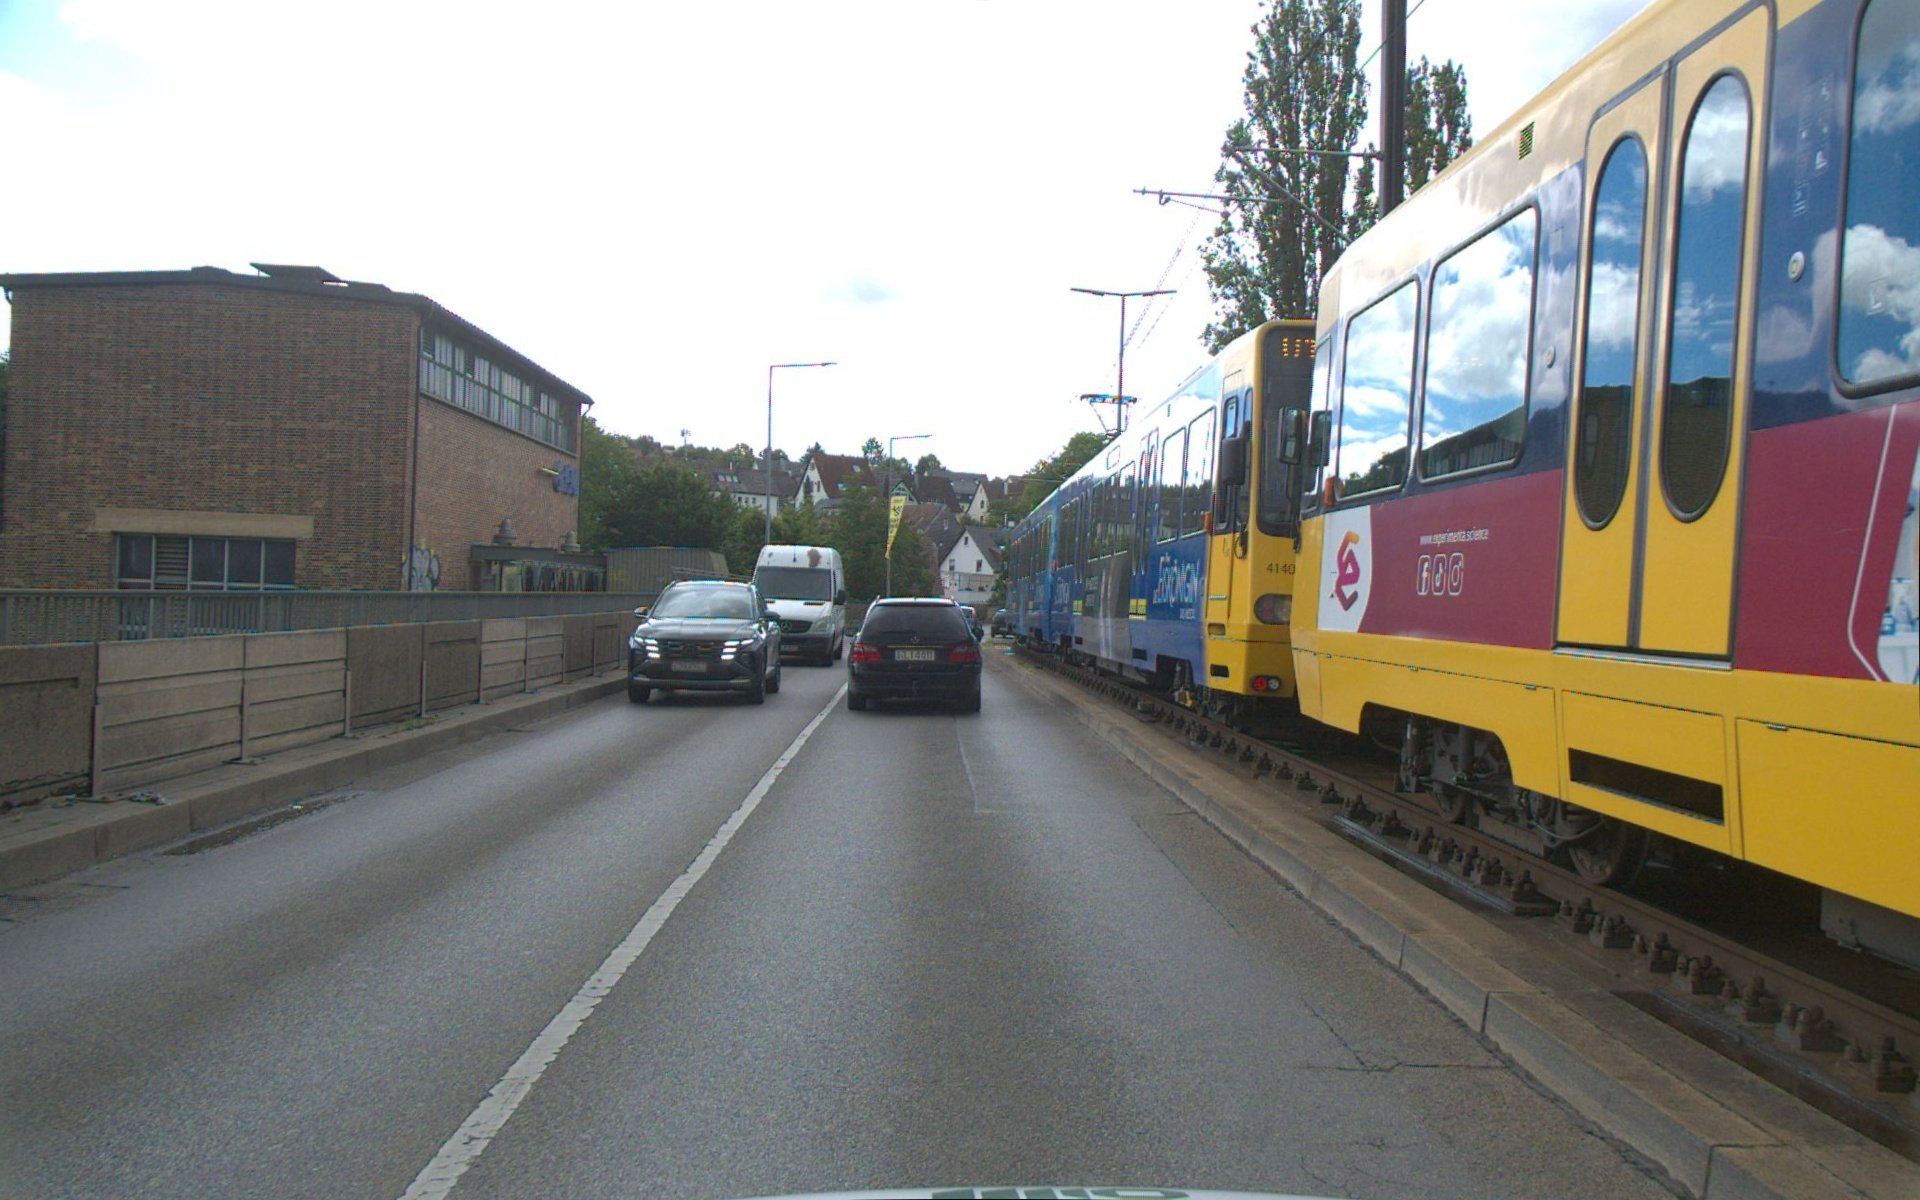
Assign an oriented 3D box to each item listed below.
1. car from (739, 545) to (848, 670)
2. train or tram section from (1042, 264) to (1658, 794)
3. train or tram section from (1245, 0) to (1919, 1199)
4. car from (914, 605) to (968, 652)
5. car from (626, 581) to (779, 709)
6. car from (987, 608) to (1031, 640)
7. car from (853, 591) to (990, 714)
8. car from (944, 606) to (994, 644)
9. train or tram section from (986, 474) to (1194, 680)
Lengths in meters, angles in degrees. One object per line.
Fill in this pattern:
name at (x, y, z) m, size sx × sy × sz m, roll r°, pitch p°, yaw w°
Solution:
car at (-3.727, 0.111, 38.200) m, size 1.992 × 2.606 × 7.005 m, roll 0°, pitch 1°, yaw -2°
train or tram section at (3.262, -0.468, 21.643) m, size 2.728 × 3.720 × 19.884 m, roll -1°, pitch 0°, yaw -2°
train or tram section at (3.699, -0.347, 2.419) m, size 2.773 × 3.643 × 18.660 m, roll 0°, pitch 0°, yaw -2°
car at (-0.719, 0.983, 58.904) m, size 1.735 × 1.582 × 4.238 m, roll 0°, pitch 0°, yaw -3°
car at (-3.602, 0.565, 23.760) m, size 1.681 × 1.674 × 3.999 m, roll 0°, pitch 1°, yaw -2°
car at (2.570, 1.252, 85.935) m, size 1.733 × 1.582 × 4.244 m, roll 2°, pitch 0°, yaw 8°
car at (-0.563, 0.667, 23.031) m, size 1.723 × 1.542 × 4.440 m, roll 0°, pitch 0°, yaw -2°
car at (0.413, 1.080, 72.350) m, size 1.755 × 1.583 × 4.388 m, roll 1°, pitch 0°, yaw 6°
train or tram section at (2.645, -0.386, 41.552) m, size 2.737 × 3.830 × 19.882 m, roll 2°, pitch 0°, yaw -2°
